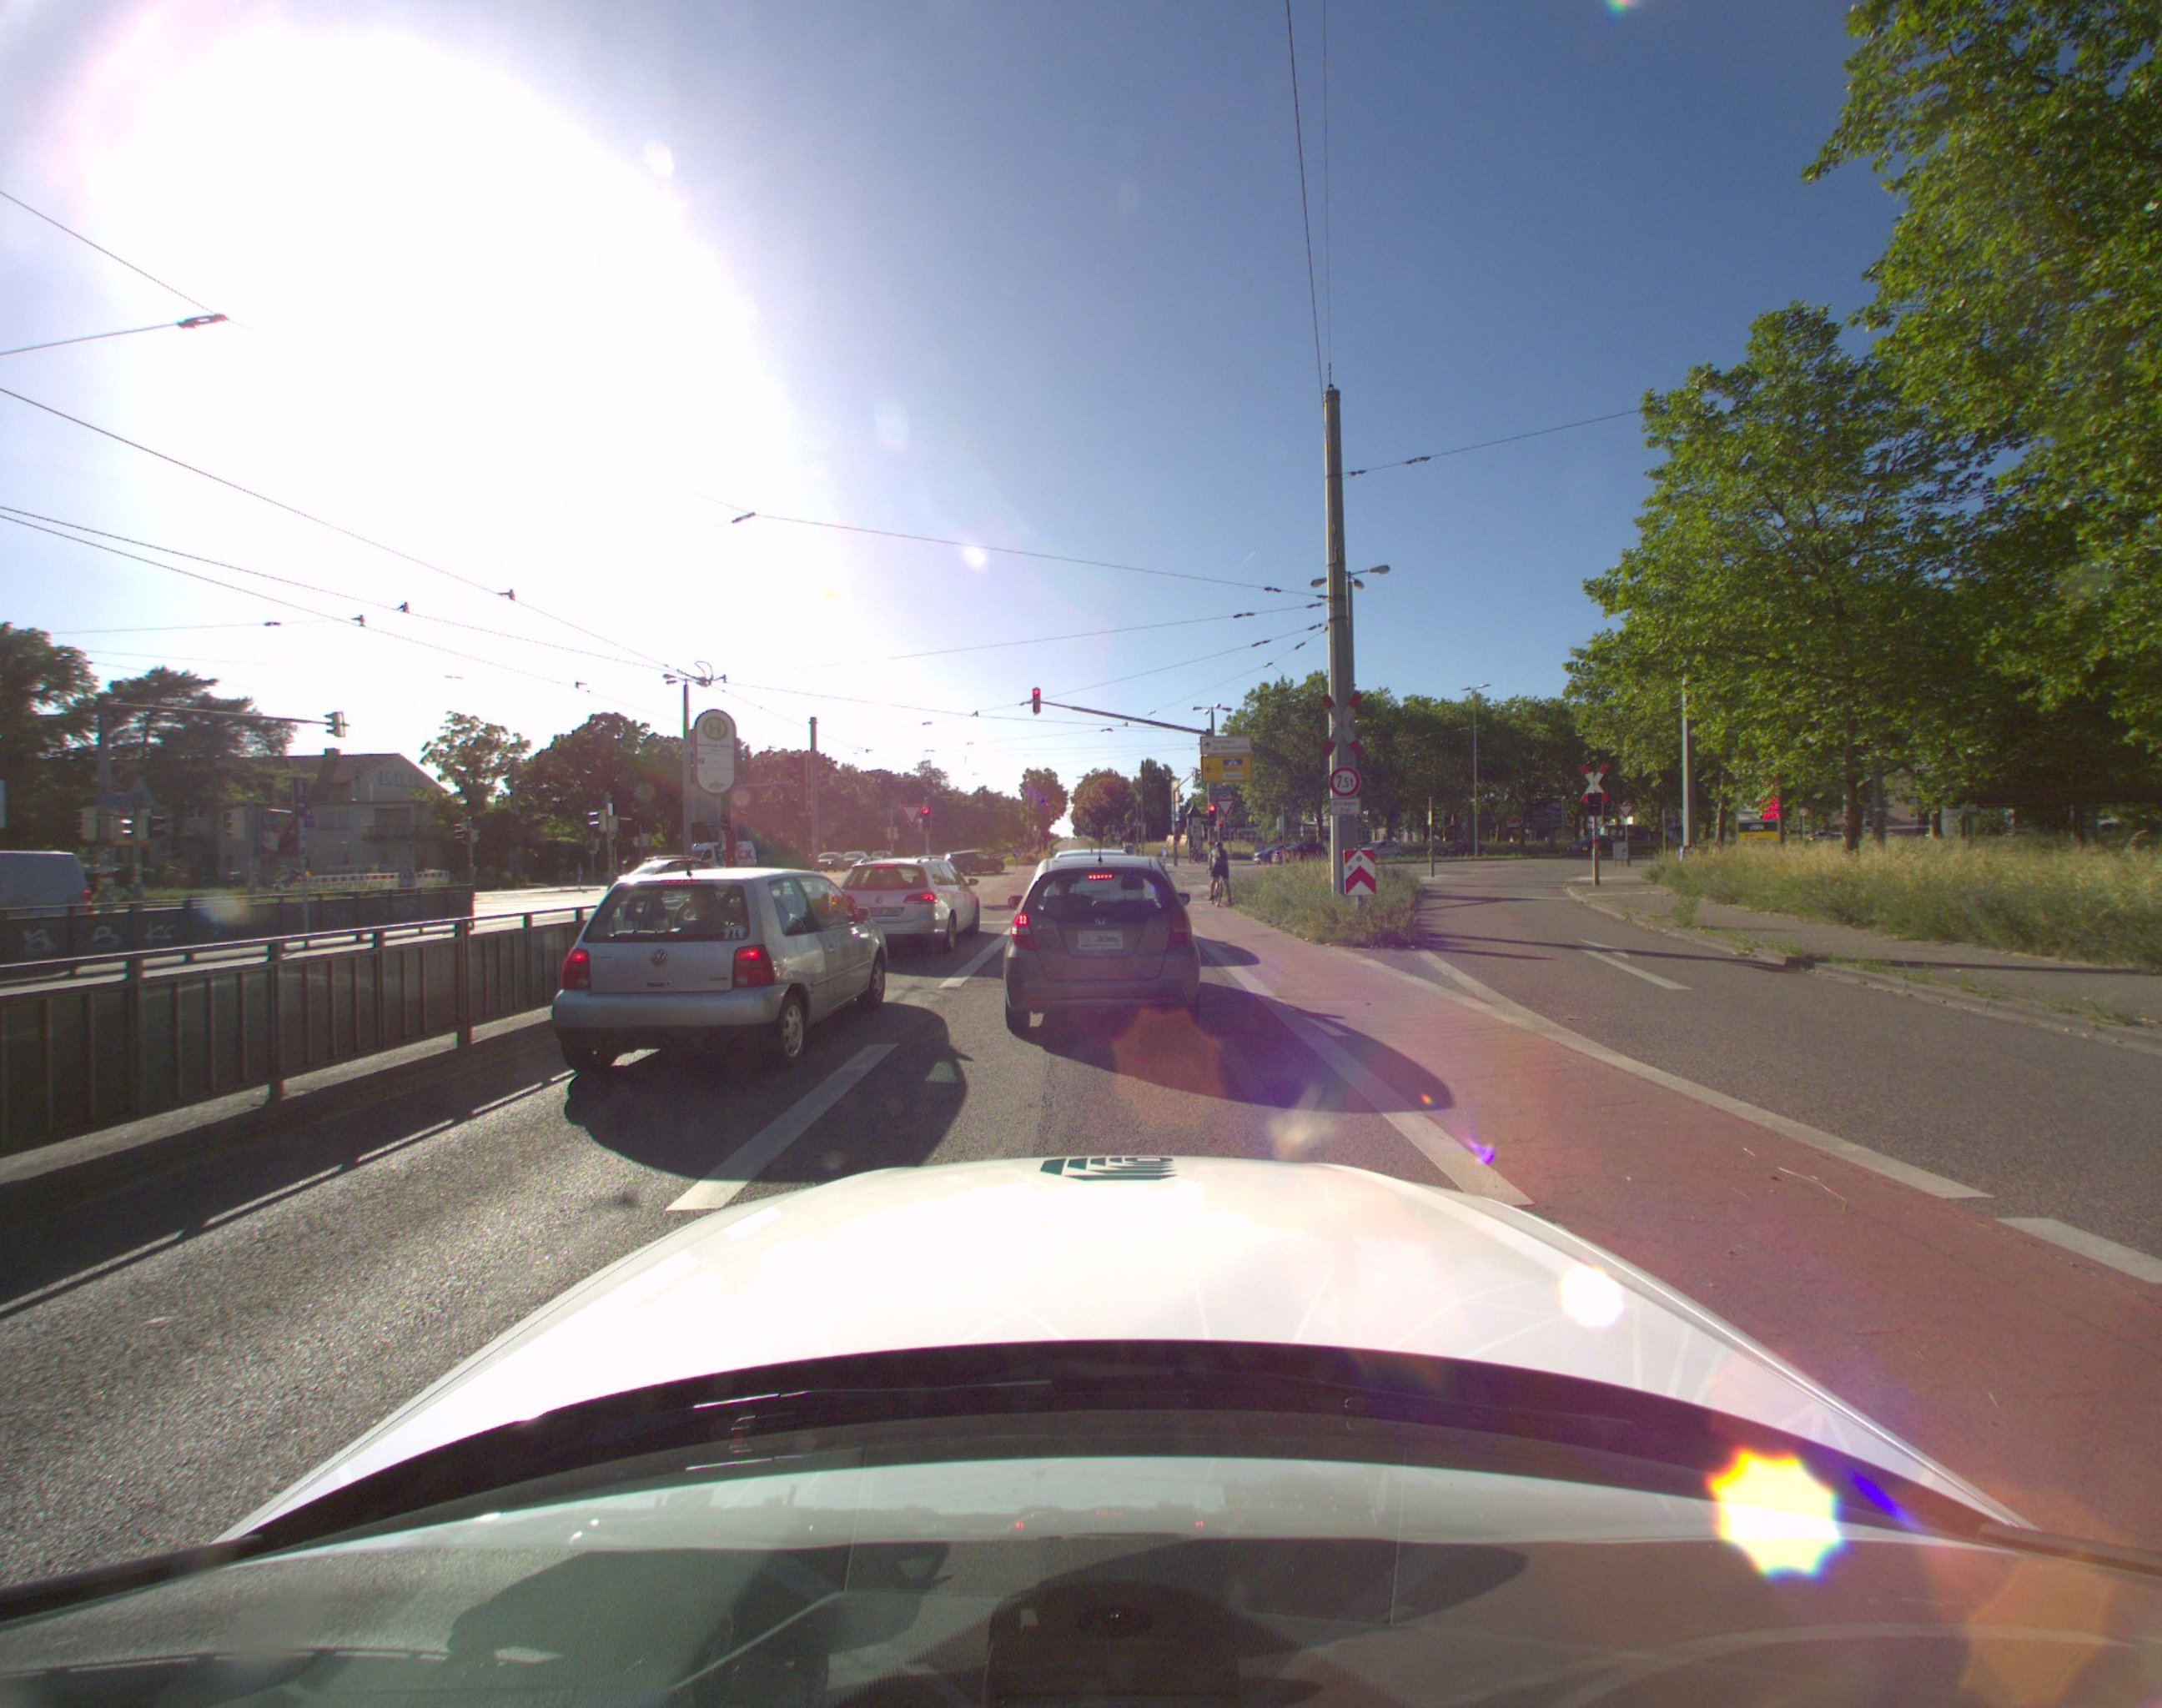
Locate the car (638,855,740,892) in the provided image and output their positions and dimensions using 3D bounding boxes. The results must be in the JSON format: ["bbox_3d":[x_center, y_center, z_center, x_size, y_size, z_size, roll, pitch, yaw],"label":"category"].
[{"bbox_3d":[-17.540,0.828,36.481,4.010,1.478,1.700,-2,0,-29],"label":"car"}]

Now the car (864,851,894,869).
[{"bbox_3d":[-18.687,0.560,75.511,1.991,1.604,4.745,0,1,-6],"label":"car"}]

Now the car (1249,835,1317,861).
[{"bbox_3d":[15.075,-0.410,60.795,4.705,1.879,1.986,0,0,-21],"label":"car"}]

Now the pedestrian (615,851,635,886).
[{"bbox_3d":[-26.463,0.847,47.314,0.748,2.013,0.788,-2,0,-11],"label":"pedestrian"}]

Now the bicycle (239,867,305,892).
[{"bbox_3d":[-43.906,1.384,44.242,2.402,1.263,0.813,-1,0,-17],"label":"bicycle"}]

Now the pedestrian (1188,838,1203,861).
[{"bbox_3d":[9.158,-0.372,65.279,0.781,1.836,0.860,-2,0,42],"label":"pedestrian"}]

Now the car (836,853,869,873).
[{"bbox_3d":[-18.828,0.716,67.254,1.829,1.548,4.277,-2,0,-5],"label":"car"}]

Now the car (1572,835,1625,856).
[{"bbox_3d":[40.939,-0.652,64.462,3.989,1.544,1.580,-2,0,-24],"label":"car"}]

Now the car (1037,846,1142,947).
[{"bbox_3d":[0.188,0.661,14.870,1.605,1.562,4.289,-1,0,1],"label":"car"}]

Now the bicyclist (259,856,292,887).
[{"bbox_3d":[-43.815,0.920,44.305,1.009,1.647,0.813,-1,0,-17],"label":"bicyclist"}]

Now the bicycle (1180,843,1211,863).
[{"bbox_3d":[9.195,-0.092,65.316,0.810,1.574,3.235,-2,0,40],"label":"bicycle"}]

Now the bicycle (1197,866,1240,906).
[{"bbox_3d":[3.681,0.840,22.038,0.719,0.989,2.876,0,0,1],"label":"bicycle"}]

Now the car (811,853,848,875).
[{"bbox_3d":[-18.935,0.716,61.462,1.829,1.548,3.993,-2,0,-5],"label":"car"}]

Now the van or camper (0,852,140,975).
[{"bbox_3d":[-17.170,0.933,10.919,1.986,1.828,5.990,-2,0,2],"label":"van or camper"}]

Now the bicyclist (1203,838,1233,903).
[{"bbox_3d":[3.680,0.434,21.960,0.663,1.716,0.948,0,-1,1],"label":"bicyclist"}]

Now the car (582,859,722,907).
[{"bbox_3d":[-14.471,0.936,27.715,1.590,1.402,4.039,-1,0,24],"label":"car"}]

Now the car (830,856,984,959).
[{"bbox_3d":[-2.736,0.780,13.723,1.613,1.457,4.086,0,0,1],"label":"car"}]

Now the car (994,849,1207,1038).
[{"bbox_3d":[0.145,0.699,8.230,1.663,1.462,3.585,-1,0,-1],"label":"car"}]

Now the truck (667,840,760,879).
[{"bbox_3d":[-26.351,0.339,58.729,1.978,2.565,6.854,-1,0,18],"label":"truck"}]

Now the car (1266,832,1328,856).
[{"bbox_3d":[15.020,-0.719,56.679,4.002,1.531,1.594,-2,0,-21],"label":"car"}]

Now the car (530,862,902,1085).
[{"bbox_3d":[-2.792,0.808,7.076,1.613,1.417,3.352,-2,0,1],"label":"car"}]

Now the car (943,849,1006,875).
[{"bbox_3d":[-6.179,0.455,47.563,1.508,1.378,3.700,-2,0,35],"label":"car"}]

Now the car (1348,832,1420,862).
[{"bbox_3d":[22.412,-0.529,60.255,4.906,2.013,1.986,-2,0,-21],"label":"car"}]

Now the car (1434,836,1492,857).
[{"bbox_3d":[31.945,-0.643,68.092,4.526,1.574,1.681,-2,0,-21],"label":"car"}]
